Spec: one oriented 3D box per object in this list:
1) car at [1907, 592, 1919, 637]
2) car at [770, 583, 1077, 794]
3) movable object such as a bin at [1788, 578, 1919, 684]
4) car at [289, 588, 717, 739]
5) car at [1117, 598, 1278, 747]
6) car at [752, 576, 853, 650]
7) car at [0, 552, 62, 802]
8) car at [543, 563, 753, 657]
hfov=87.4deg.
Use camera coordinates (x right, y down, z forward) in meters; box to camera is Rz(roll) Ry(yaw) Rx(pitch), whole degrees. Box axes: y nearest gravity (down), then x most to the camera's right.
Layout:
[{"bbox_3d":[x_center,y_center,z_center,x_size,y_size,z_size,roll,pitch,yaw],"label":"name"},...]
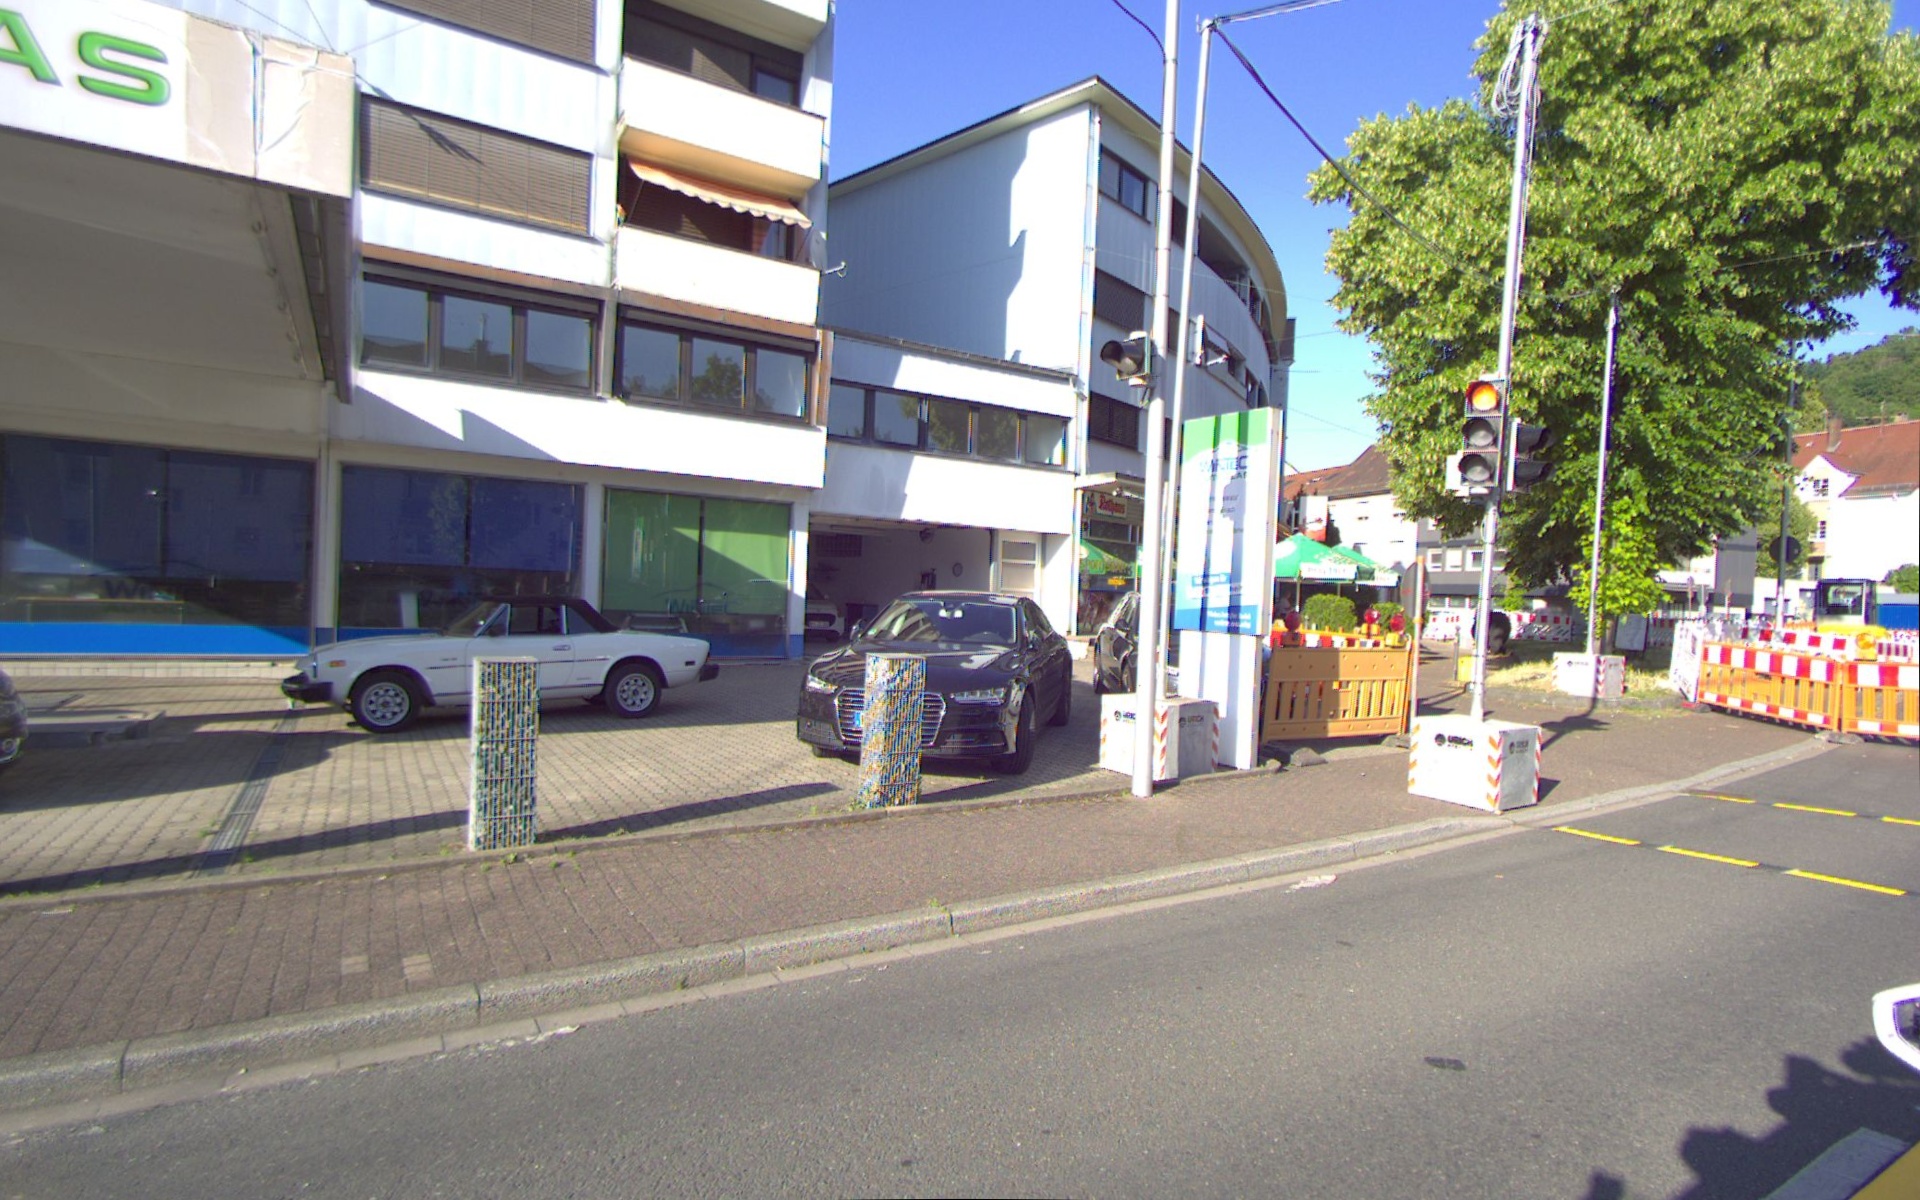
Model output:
[{"bbox_3d":[49.516,0.796,48.452,6.043,2.149,2.586,2,0,-12],"label":"car"},{"bbox_3d":[-0.020,0.652,9.571,1.893,1.457,4.692,1,-1,11],"label":"car"},{"bbox_3d":[21.562,0.706,24.119,3.882,2.356,1.635,1,0,-36],"label":"movable object such as a bin"},{"bbox_3d":[-4.671,0.594,10.487,3.865,1.315,1.511,1,-1,-35],"label":"car"},{"bbox_3d":[2.763,0.748,12.079,1.564,1.457,3.887,1,0,11],"label":"car"},{"bbox_3d":[-3.889,0.256,24.380,1.550,1.629,3.734,2,1,-23],"label":"car"},{"bbox_3d":[-7.478,0.410,5.859,3.305,1.506,1.543,2,0,8],"label":"car"},{"bbox_3d":[-6.095,0.220,19.710,3.593,1.696,1.707,2,0,-34],"label":"car"}]
